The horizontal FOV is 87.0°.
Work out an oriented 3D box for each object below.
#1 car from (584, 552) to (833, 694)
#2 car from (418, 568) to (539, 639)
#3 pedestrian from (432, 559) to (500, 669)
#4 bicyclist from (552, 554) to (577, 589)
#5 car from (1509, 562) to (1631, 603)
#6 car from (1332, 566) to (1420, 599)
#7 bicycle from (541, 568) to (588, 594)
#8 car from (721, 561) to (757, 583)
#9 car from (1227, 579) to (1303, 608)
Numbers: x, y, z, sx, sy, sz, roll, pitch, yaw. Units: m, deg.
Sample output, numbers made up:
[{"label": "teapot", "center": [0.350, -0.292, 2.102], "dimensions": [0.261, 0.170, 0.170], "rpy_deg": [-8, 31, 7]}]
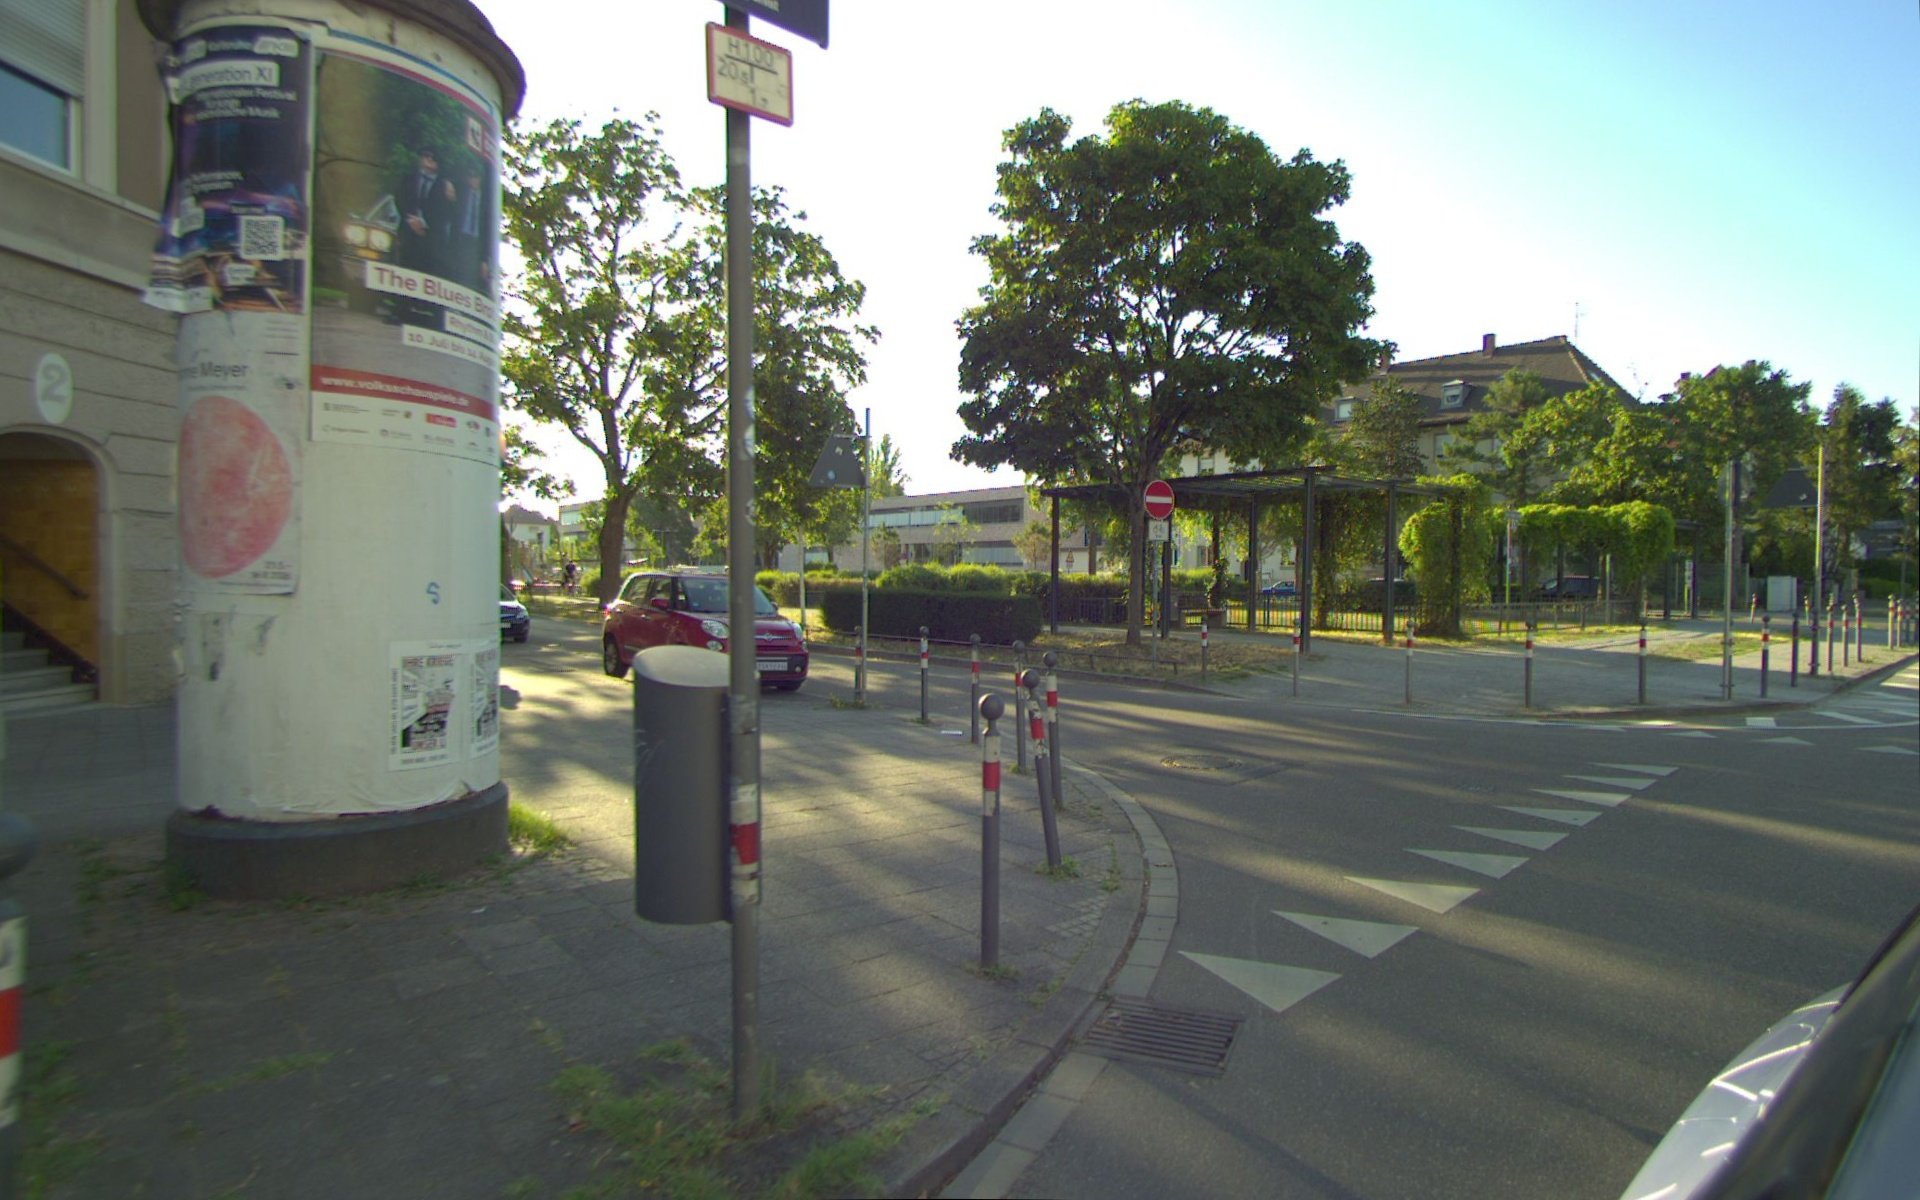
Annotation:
[{"label": "car", "center": [-3.767, 0.264, 14.692], "dimensions": [1.781, 1.763, 4.080], "rpy_deg": [1, 0, -42]}, {"label": "car", "center": [-11.715, 0.040, 24.495], "dimensions": [1.779, 1.552, 4.084], "rpy_deg": [0, 1, -39]}, {"label": "pedestrian", "center": [-7.322, 0.201, 14.982], "dimensions": [0.728, 1.564, 0.821], "rpy_deg": [1, -1, -37]}, {"label": "bicyclist", "center": [-19.043, -1.357, 48.695], "dimensions": [0.861, 1.668, 0.848], "rpy_deg": [1, 1, 43]}, {"label": "car", "center": [26.442, -0.770, 43.971], "dimensions": [1.791, 1.662, 4.209], "rpy_deg": [2, -1, -41]}, {"label": "car", "center": [21.129, -0.904, 51.514], "dimensions": [1.738, 1.544, 3.772], "rpy_deg": [-3, 2, -37]}, {"label": "bicycle", "center": [-19.039, -0.926, 48.704], "dimensions": [3.098, 1.236, 0.874], "rpy_deg": [1, 2, 44]}, {"label": "car", "center": [-22.129, -2.758, 101.257], "dimensions": [1.965, 2.150, 3.996], "rpy_deg": [-1, 2, -39]}, {"label": "car", "center": [16.870, -0.383, 56.036], "dimensions": [1.705, 1.537, 3.756], "rpy_deg": [-1, 2, -39]}]
